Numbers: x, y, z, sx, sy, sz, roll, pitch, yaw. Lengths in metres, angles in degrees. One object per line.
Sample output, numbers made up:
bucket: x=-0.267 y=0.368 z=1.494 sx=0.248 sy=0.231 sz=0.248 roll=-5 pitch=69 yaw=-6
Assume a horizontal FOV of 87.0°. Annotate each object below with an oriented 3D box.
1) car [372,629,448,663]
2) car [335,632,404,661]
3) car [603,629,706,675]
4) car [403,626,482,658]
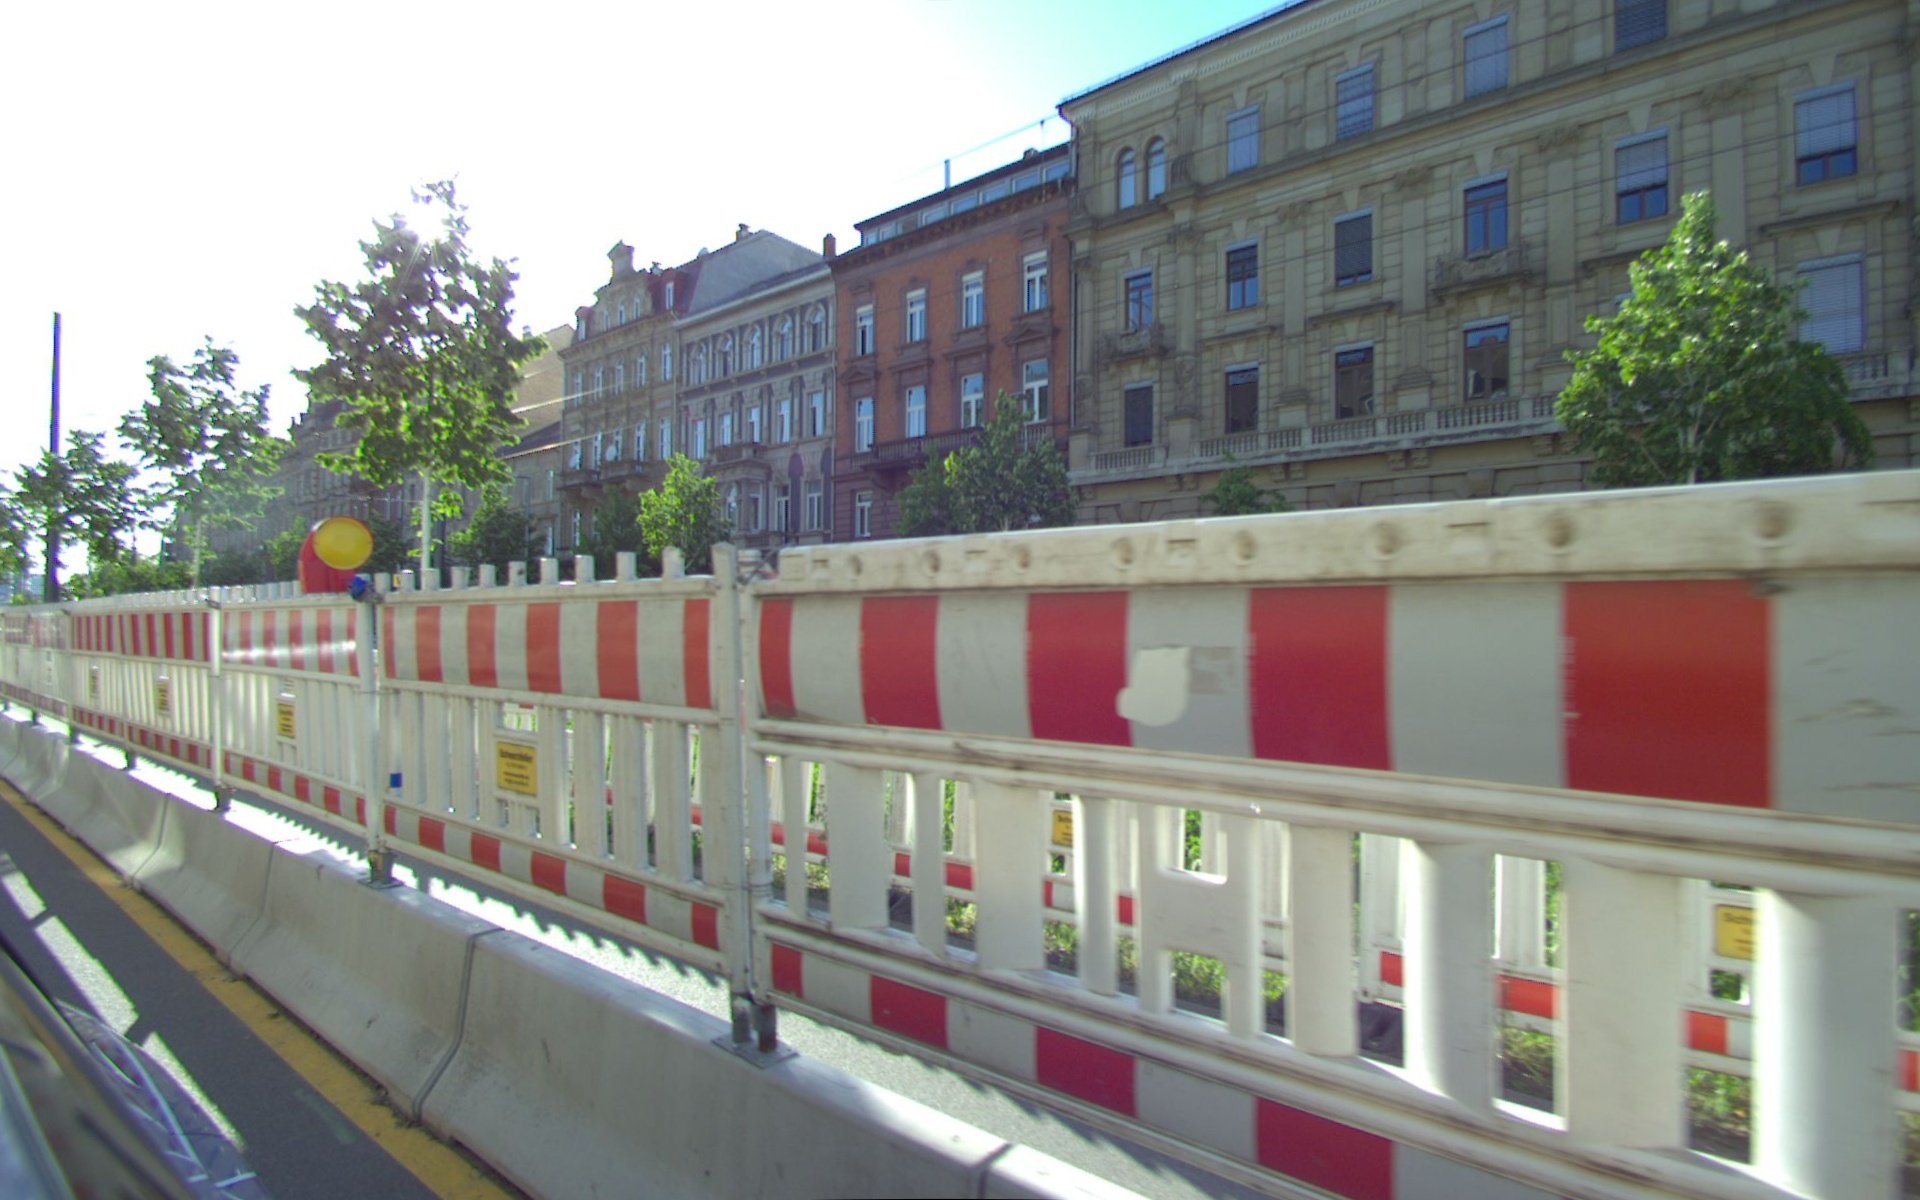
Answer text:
car: x=-29.771 y=2.438 z=54.735 sx=4.885 sy=1.710 sz=1.973 roll=-2 pitch=-1 yaw=41
car: x=-34.422 y=2.669 z=58.940 sx=4.982 sy=1.549 sz=1.973 roll=-2 pitch=-1 yaw=42
car: x=-12.277 y=2.027 z=40.543 sx=4.544 sy=1.671 sz=1.917 roll=-2 pitch=-1 yaw=43
car: x=-25.659 y=2.060 z=50.108 sx=4.305 sy=1.449 sz=1.973 roll=-2 pitch=-1 yaw=41
